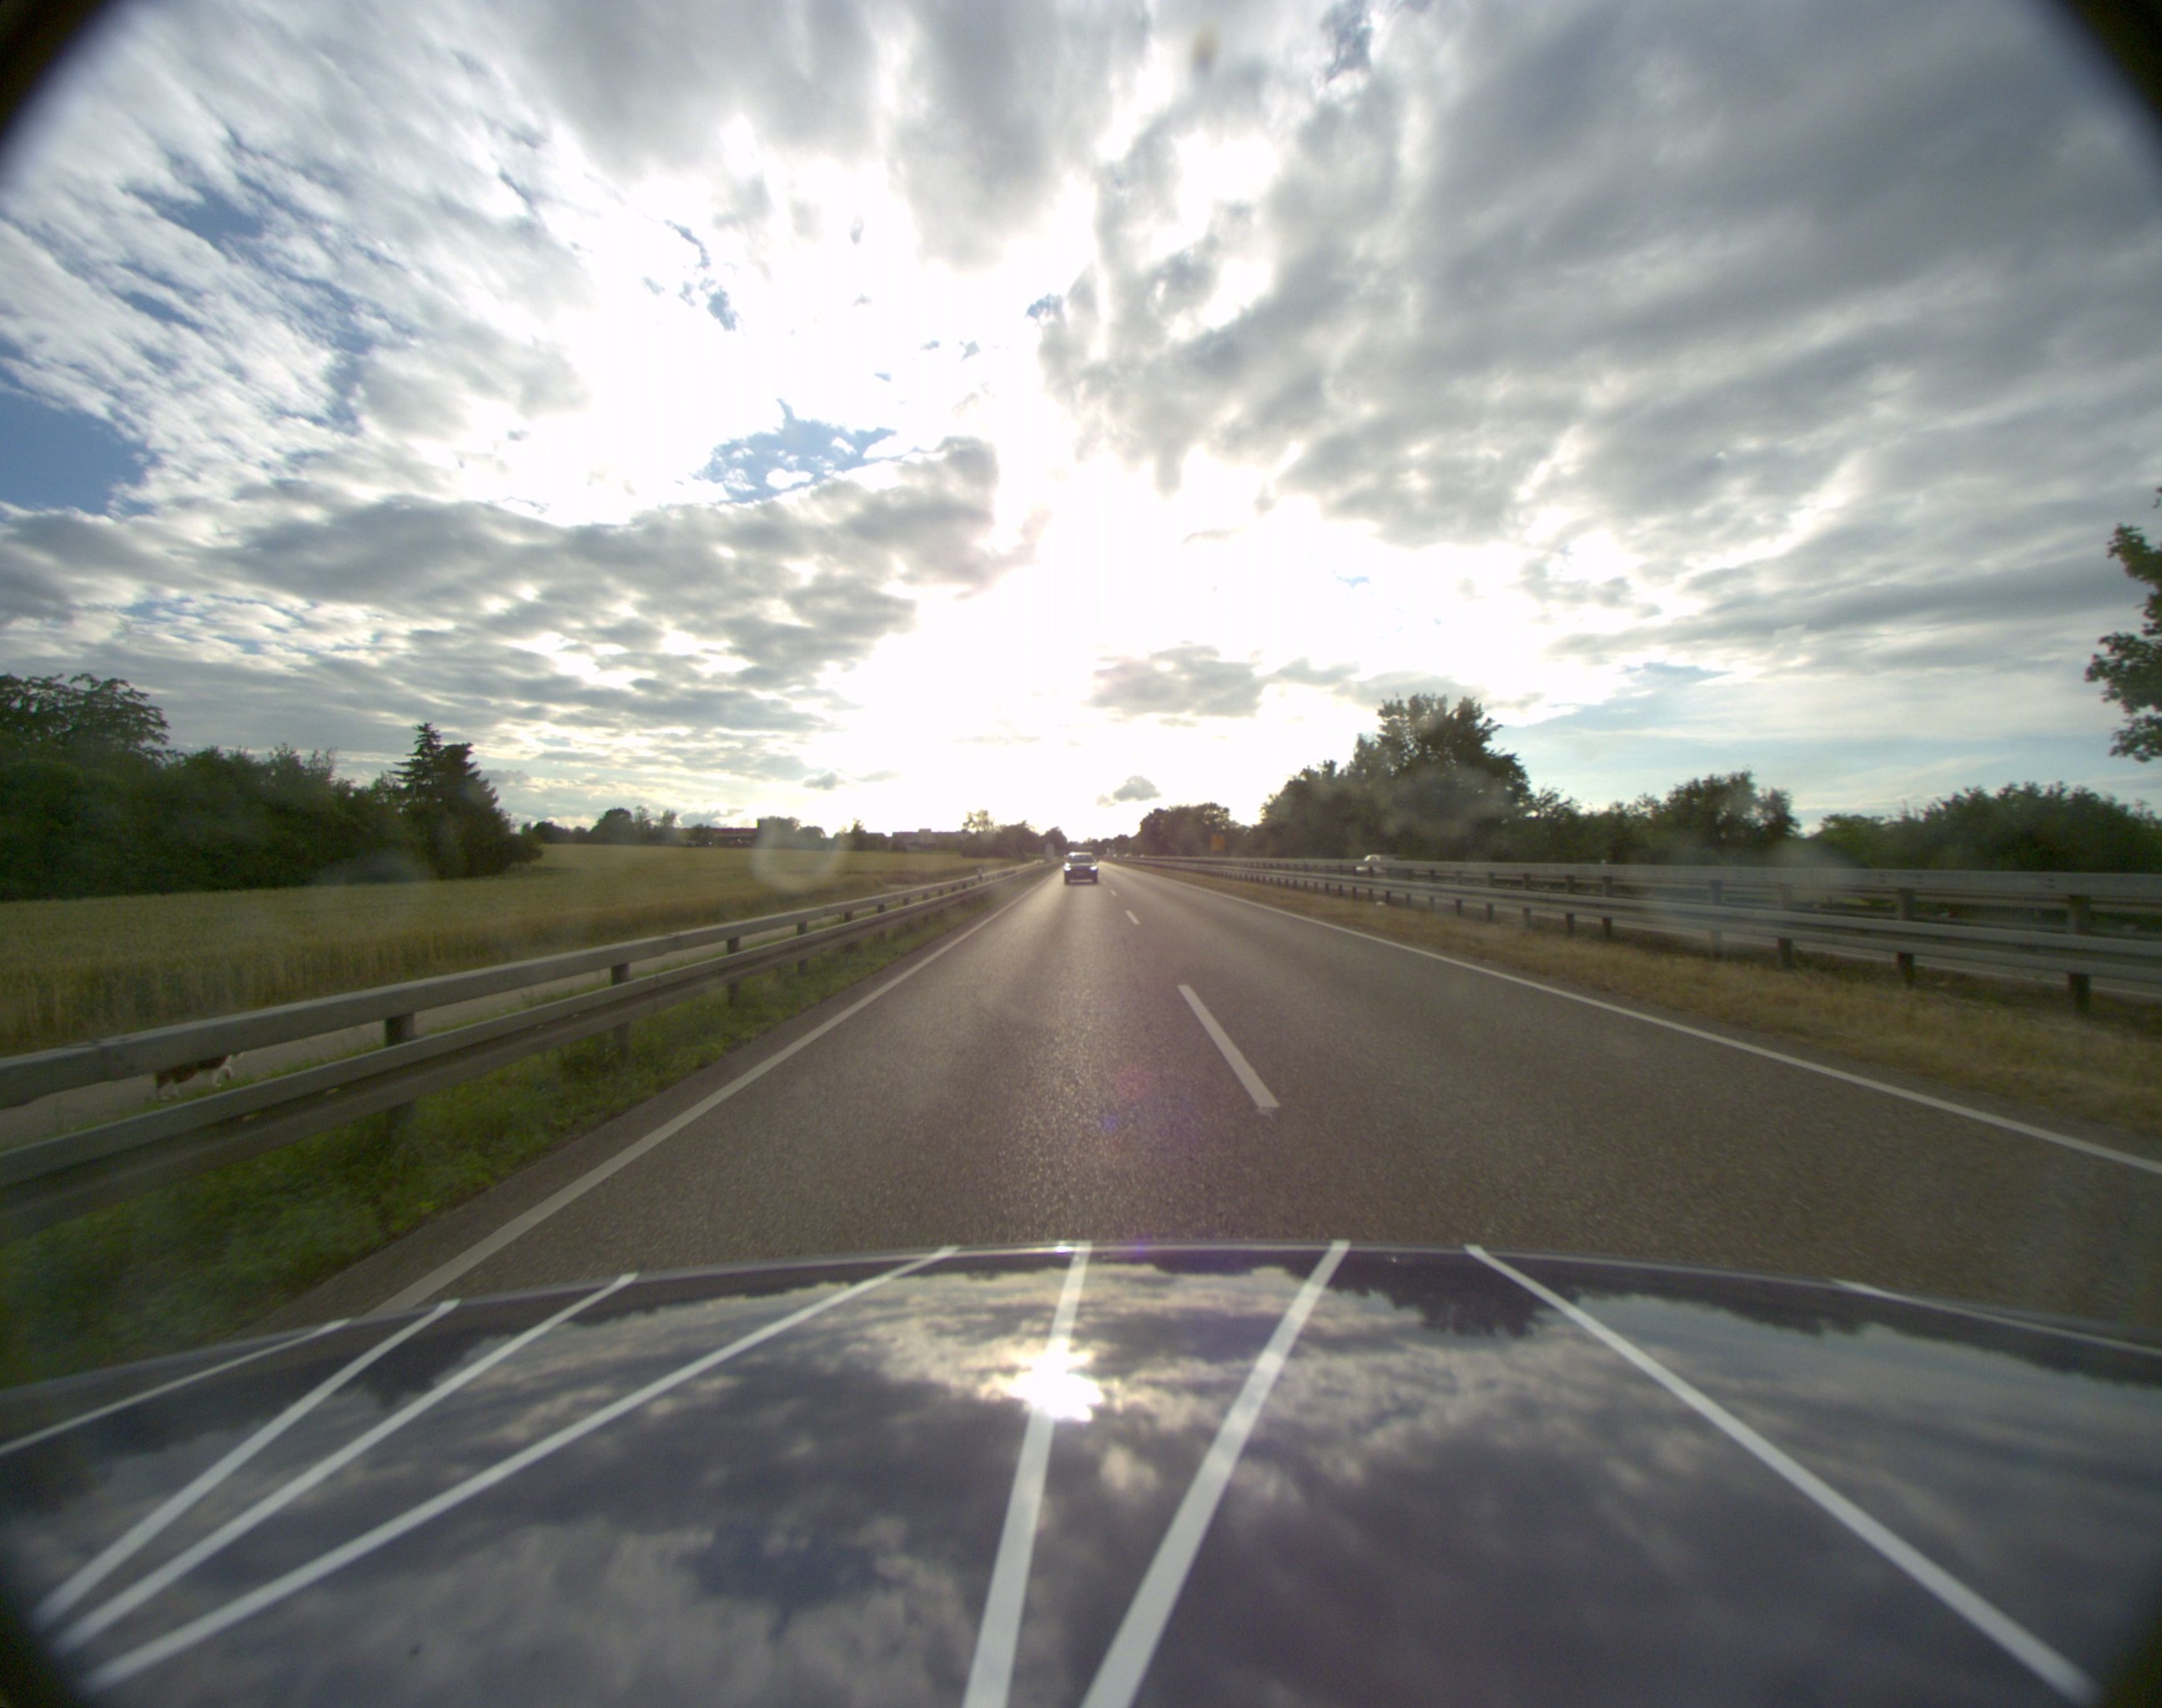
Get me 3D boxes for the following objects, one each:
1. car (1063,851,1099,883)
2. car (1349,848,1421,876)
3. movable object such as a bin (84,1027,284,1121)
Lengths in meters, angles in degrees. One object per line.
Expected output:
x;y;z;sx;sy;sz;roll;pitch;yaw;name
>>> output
0.003;0.675;42.326;1.863;1.636;3.999;-2;1;0;car
15.120;0.365;38.028;1.785;1.344;4.576;0;0;0;car
-9.977;2.429;8.521;0.734;0.642;1.235;-3;1;0;movable object such as a bin
